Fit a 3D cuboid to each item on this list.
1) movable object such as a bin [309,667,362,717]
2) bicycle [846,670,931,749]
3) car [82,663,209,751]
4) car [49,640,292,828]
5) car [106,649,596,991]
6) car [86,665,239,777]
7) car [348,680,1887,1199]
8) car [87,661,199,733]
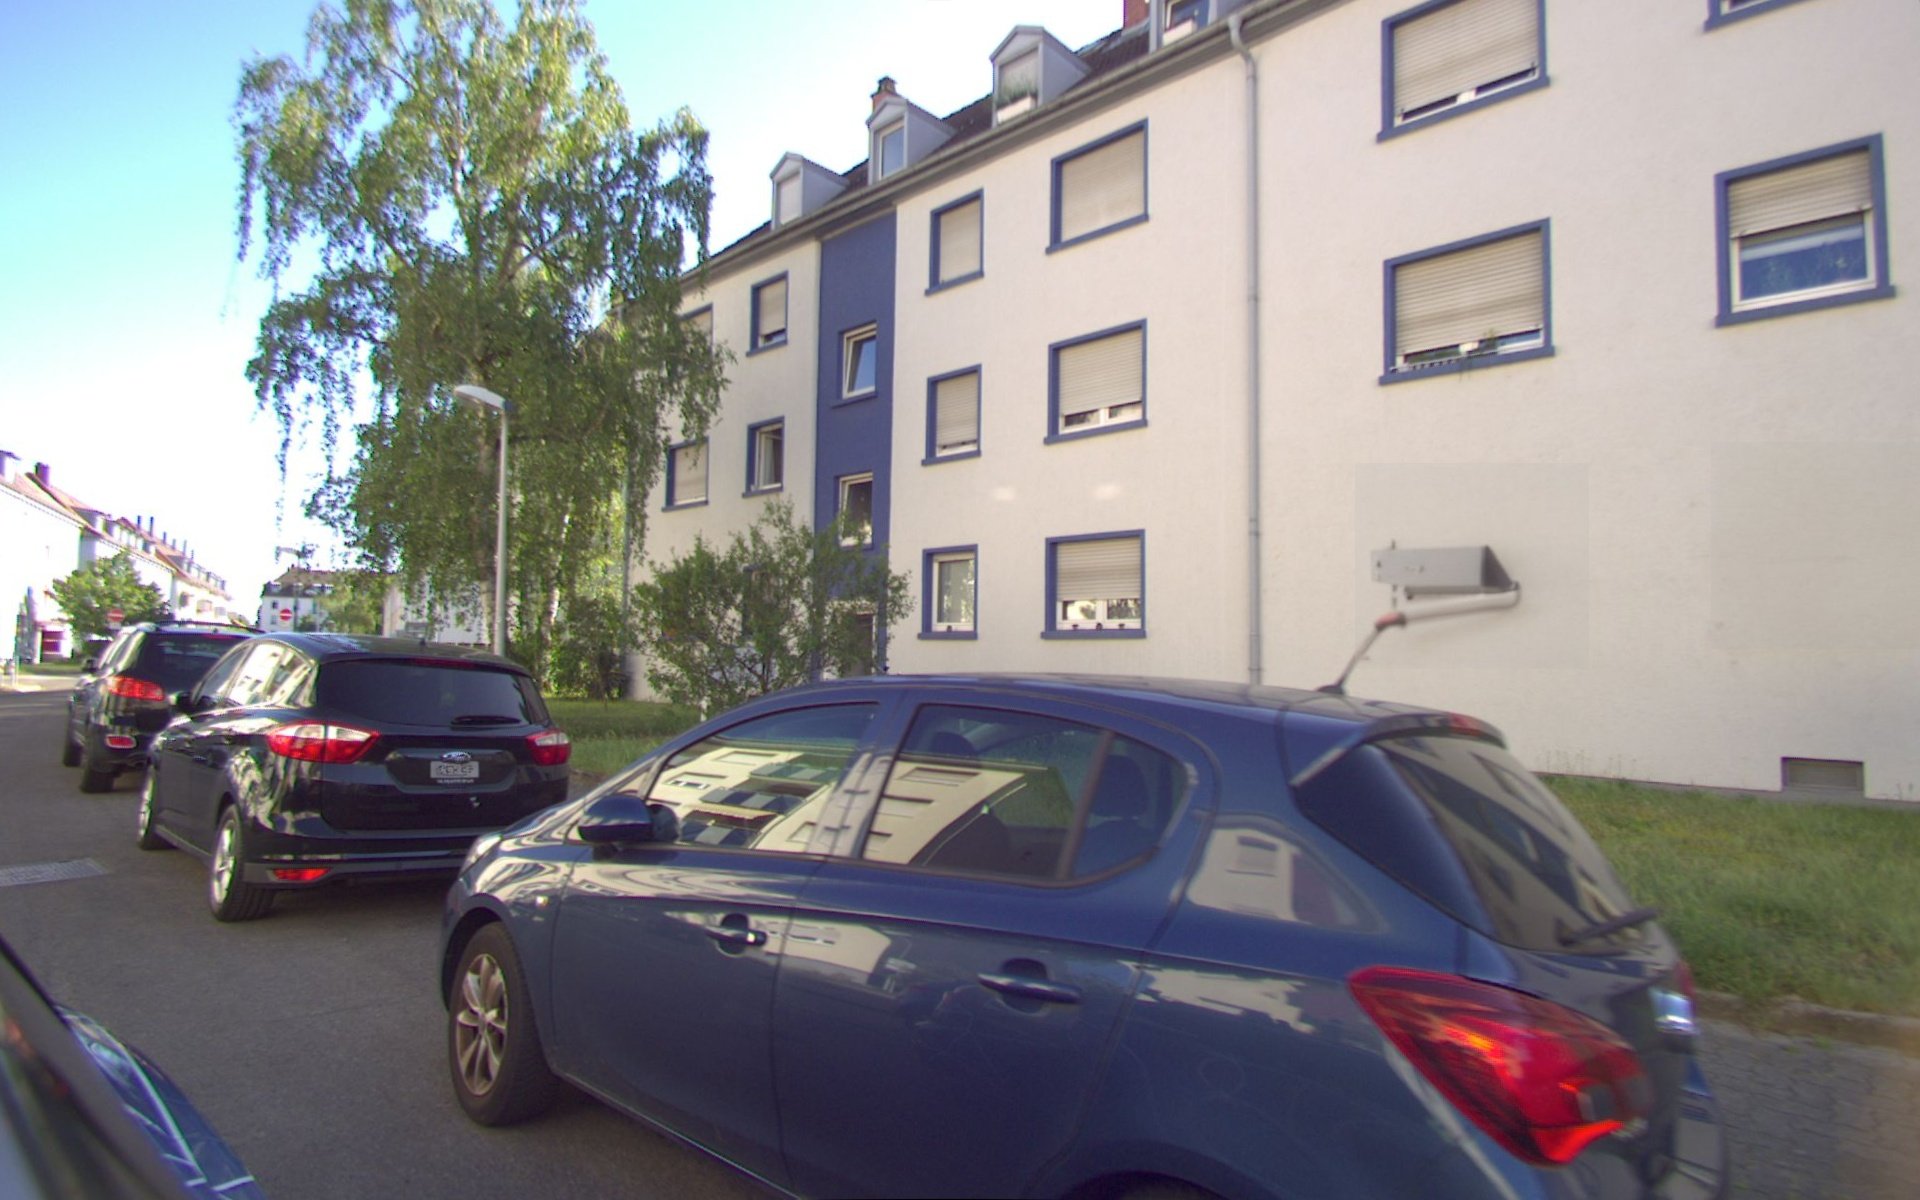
[{"bbox_3d":[-17.821,2.604,28.895,1.203,1.391,0.769,2,-4,-28],"label":"movable object such as a bin"},{"bbox_3d":[-1.094,1.697,15.722,0.415,1.161,1.394,-2,-6,41],"label":"bicycle"},{"bbox_3d":[-16.050,2.054,19.954,1.657,1.453,4.287,8,-7,-39],"label":"car"},{"bbox_3d":[-9.049,1.382,11.460,1.537,1.727,4.340,9,-8,-44],"label":"car"},{"bbox_3d":[-4.257,1.178,6.772,4.157,1.572,1.675,-3,-8,44],"label":"car"},{"bbox_3d":[-12.348,1.811,15.656,1.536,1.453,3.974,8,-7,-39],"label":"car"},{"bbox_3d":[-0.057,1.013,2.957,4.017,1.456,1.676,-3,-7,40],"label":"car"},{"bbox_3d":[-19.170,2.234,23.923,1.656,1.464,4.631,7,-7,-35],"label":"car"}]
